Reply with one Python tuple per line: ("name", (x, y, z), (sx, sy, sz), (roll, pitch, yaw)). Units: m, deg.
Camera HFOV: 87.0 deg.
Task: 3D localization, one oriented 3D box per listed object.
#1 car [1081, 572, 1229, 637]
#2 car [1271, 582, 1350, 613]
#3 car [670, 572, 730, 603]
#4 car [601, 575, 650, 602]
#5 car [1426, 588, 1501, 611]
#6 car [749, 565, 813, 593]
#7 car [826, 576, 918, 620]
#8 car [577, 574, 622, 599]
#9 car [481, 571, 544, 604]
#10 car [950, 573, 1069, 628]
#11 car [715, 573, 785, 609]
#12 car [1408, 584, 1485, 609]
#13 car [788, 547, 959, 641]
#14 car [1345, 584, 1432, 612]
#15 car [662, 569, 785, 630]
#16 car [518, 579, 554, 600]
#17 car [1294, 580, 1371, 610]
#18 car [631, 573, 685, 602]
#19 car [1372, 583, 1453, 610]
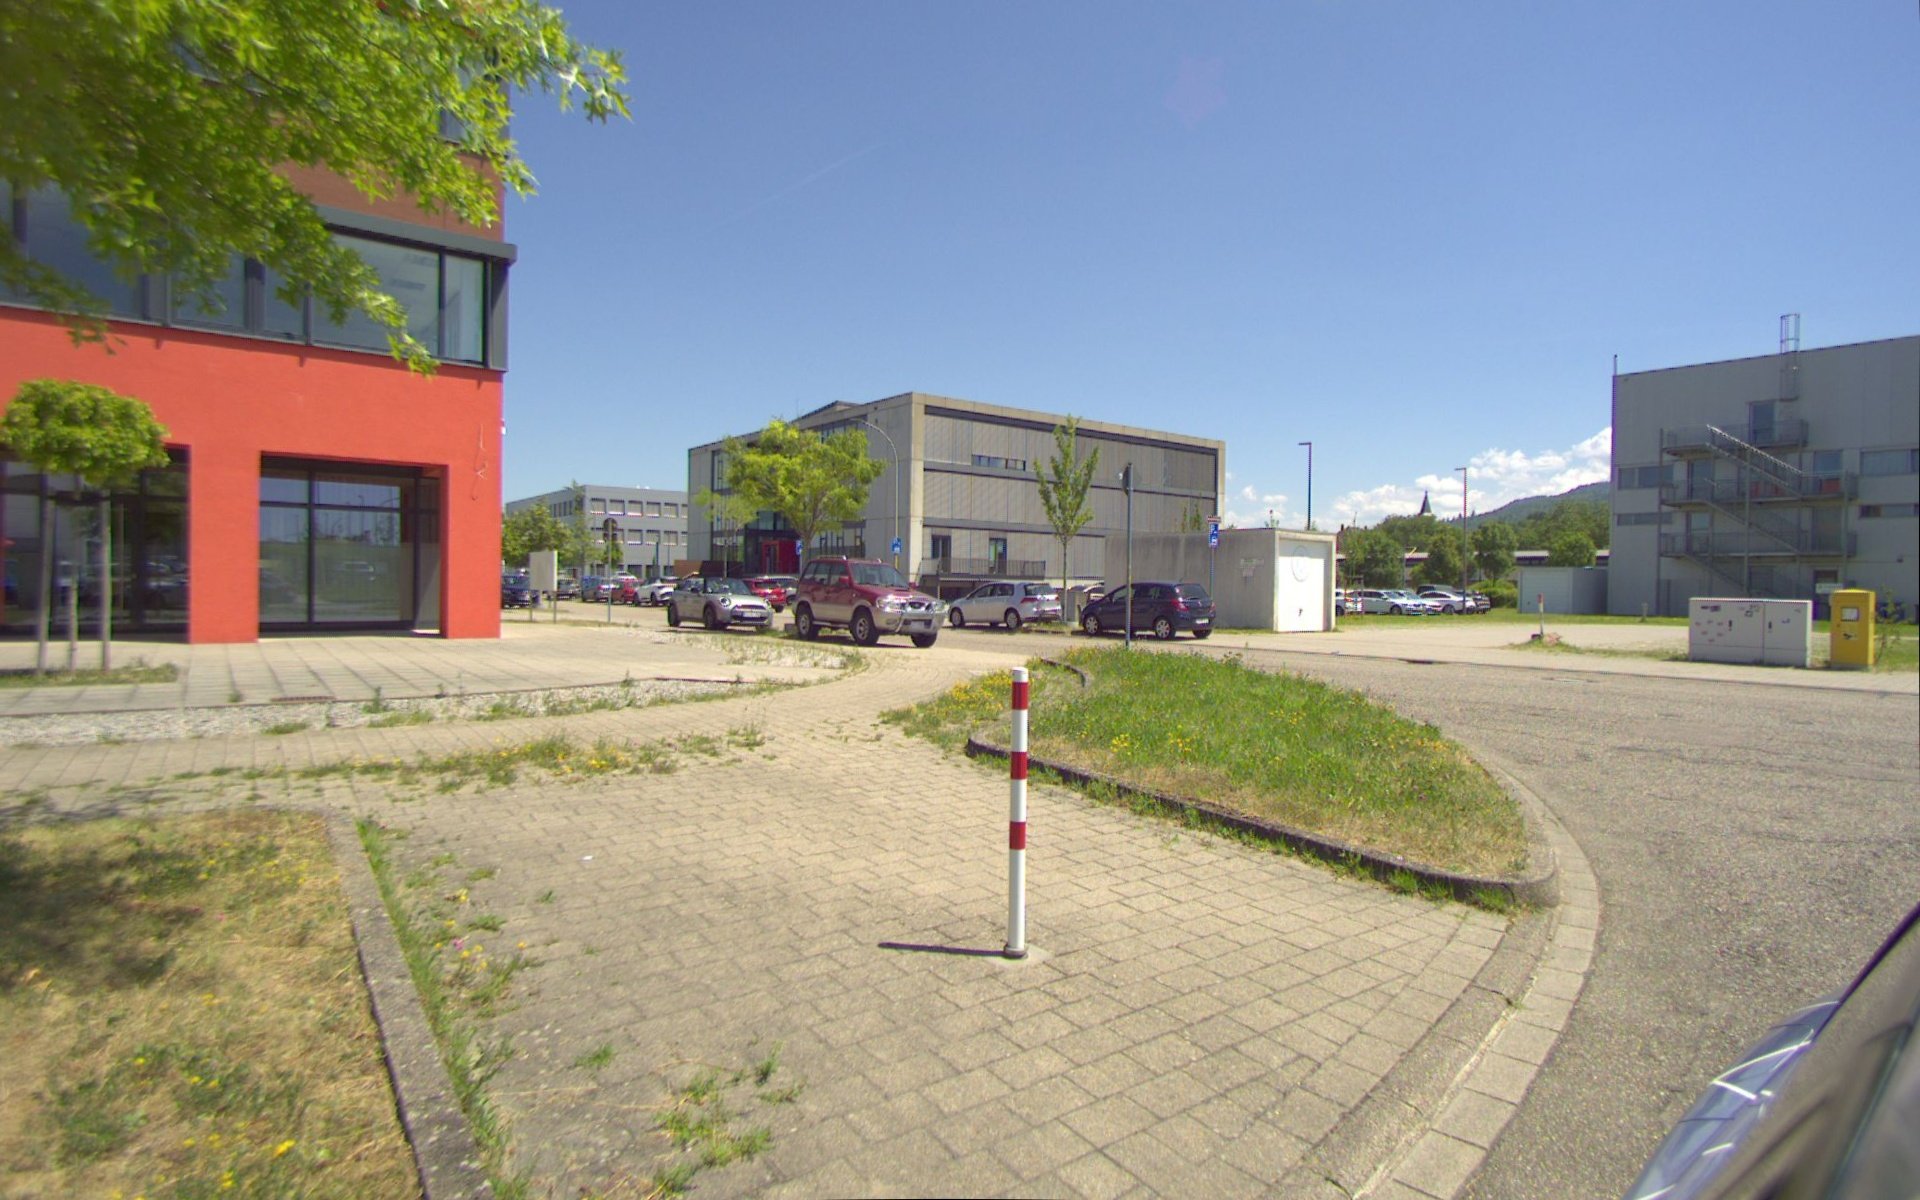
("car", (5.055, 0.061, 26.529), (1.653, 1.519, 3.626), (-3, 3, -37))
("car", (18.351, -0.175, 53.149), (1.628, 1.554, 3.626), (-1, 1, -38))
("car", (-13.145, -0.664, 51.115), (1.629, 1.487, 3.626), (-3, 3, -37))
("car", (-19.672, -0.689, 59.419), (1.629, 1.487, 3.626), (-3, 3, -37))
("car", (32.397, -0.081, 65.174), (1.628, 1.404, 4.054), (-1, 1, -37))
("car", (-10.205, -1.205, 57.988), (1.645, 1.487, 3.590), (0, 3, 31))
("car", (-3.268, -0.103, 37.148), (1.629, 1.487, 3.626), (-3, 3, -37))
("car", (-22.528, -0.850, 63.199), (1.629, 1.487, 3.626), (-3, 3, -37))
("car", (-20.481, -0.592, 46.229), (1.755, 1.460, 3.704), (0, 1, -39))
("car", (1.476, -0.029, 31.074), (1.630, 1.519, 3.624), (-3, 3, -39))
("car", (-9.458, -0.422, 45.424), (1.629, 1.487, 3.626), (-3, 3, -37))
("car", (30.140, -0.250, 62.798), (1.628, 1.443, 4.054), (-1, 1, -37))
("car", (-1.938, -0.115, 21.632), (1.776, 1.798, 3.998), (3, -1, -36))
("car", (24.543, -0.158, 58.062), (1.678, 1.485, 4.369), (-1, 1, -37))
("car", (-6.459, -0.038, 27.403), (1.755, 1.460, 3.704), (3, -1, -39))
("car", (-32.351, -0.812, 77.115), (1.629, 1.487, 3.626), (-3, 3, -37))
("car", (20.112, -0.292, 54.691), (1.628, 1.519, 3.626), (-1, 1, -37))
("car", (-16.456, -0.702, 55.053), (1.629, 1.487, 3.626), (-3, 3, -37))
("car", (26.441, -0.250, 59.282), (1.628, 1.485, 4.054), (-1, 1, -37))
